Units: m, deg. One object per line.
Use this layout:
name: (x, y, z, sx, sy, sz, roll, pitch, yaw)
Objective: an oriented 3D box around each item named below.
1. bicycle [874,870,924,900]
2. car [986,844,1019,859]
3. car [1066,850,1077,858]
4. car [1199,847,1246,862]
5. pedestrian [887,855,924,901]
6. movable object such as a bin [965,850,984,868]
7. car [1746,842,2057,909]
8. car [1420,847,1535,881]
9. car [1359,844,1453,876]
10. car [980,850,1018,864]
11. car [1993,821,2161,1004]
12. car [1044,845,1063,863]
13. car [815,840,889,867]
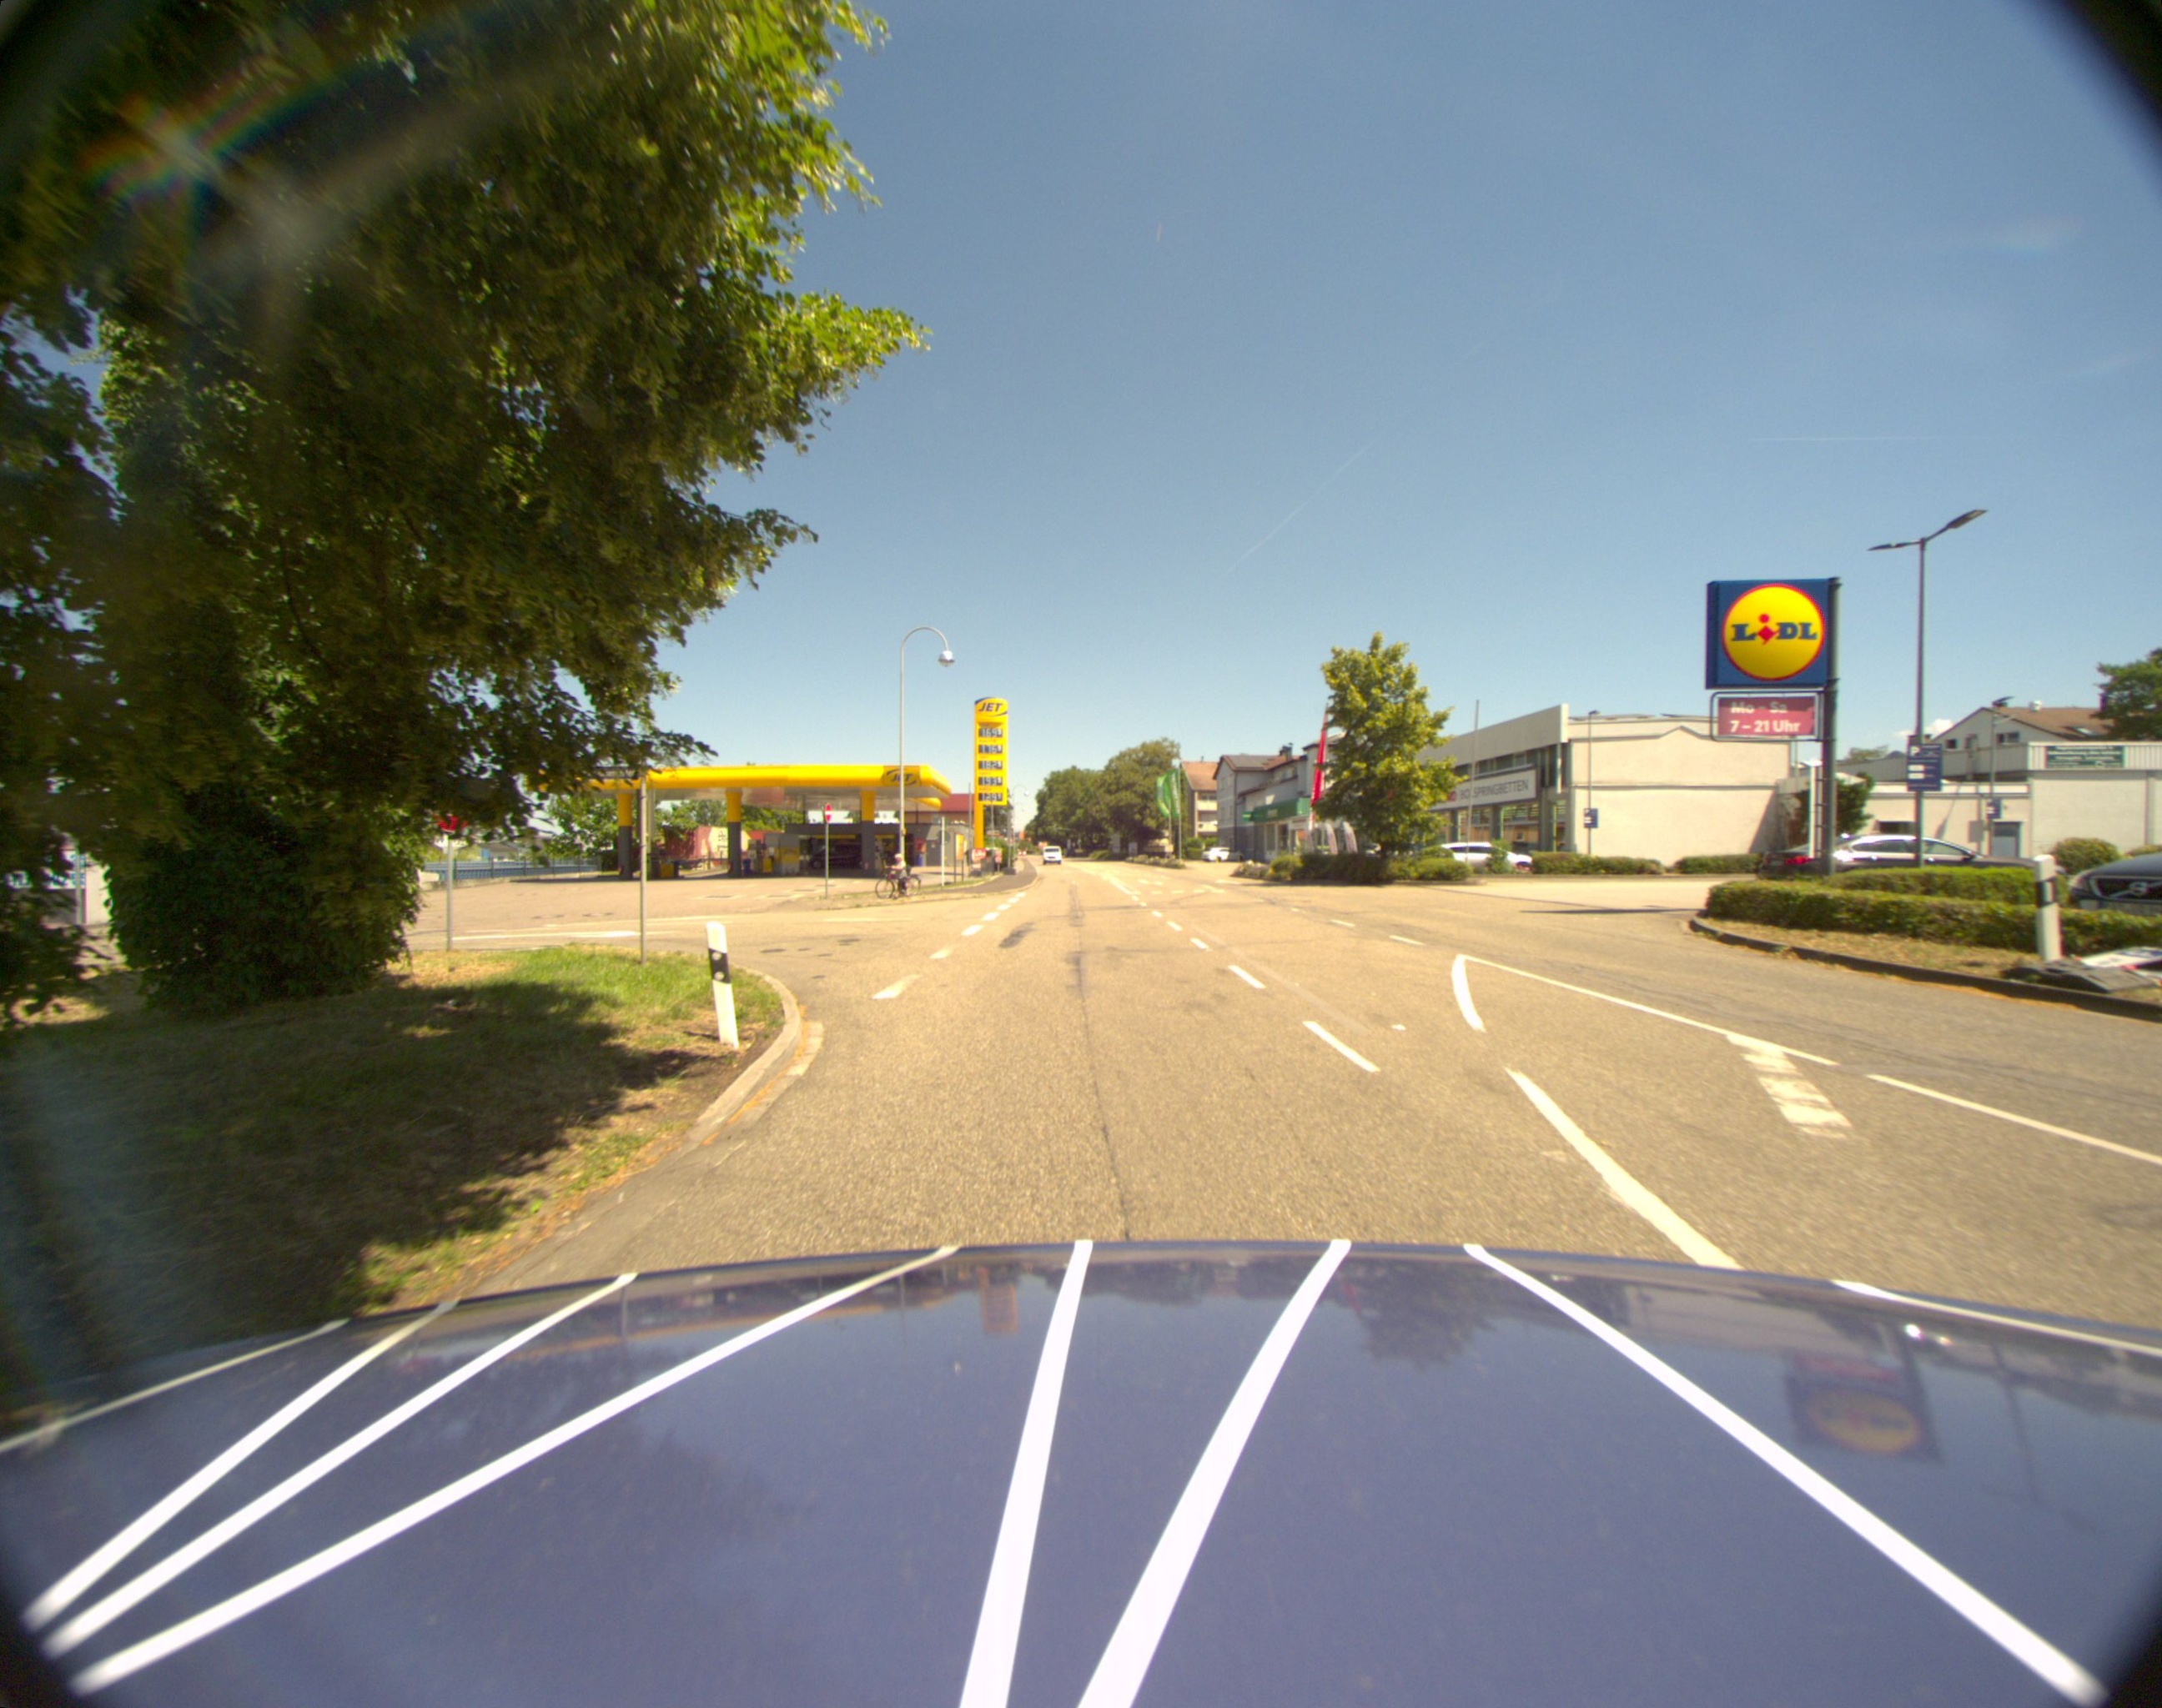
bicycle: (-5.898, 1.005, 24.718, 0.378, 0.907, 1.601, 0, 1, 44)
car: (-10.328, -0.278, 99.623, 4.148, 1.927, 1.806, 0, 0, -10)
car: (-1.731, 0.005, 142.774, 1.767, 1.518, 4.135, 0, 0, -4)
car: (14.136, 0.050, 75.779, 4.361, 1.430, 1.935, -1, 1, -26)
pedestrian: (-5.619, 0.760, 24.350, 0.769, 1.413, 0.869, 0, 1, 44)
movable object such as a bin: (-8.823, 0.381, 62.856, 1.438, 1.429, 1.467, 1, 0, -3)
car: (18.675, 0.472, 17.551, 4.682, 1.392, 1.939, -1, 1, 9)
car: (17.668, 0.441, 34.054, 4.190, 1.438, 1.981, -1, 0, 12)
car: (17.807, 0.335, 41.876, 4.536, 1.654, 2.002, -1, 0, 15)
car: (-9.285, 0.353, 86.191, 4.237, 1.525, 1.957, 1, 0, -5)
car: (12.790, 0.515, 7.529, 4.718, 1.752, 2.098, -1, 1, 4)
car: (-3.021, 0.029, 83.016, 1.797, 1.904, 3.638, -1, 1, -6)
car: (-17.474, -0.029, 58.239, 5.064, 1.964, 1.999, -1, 1, -3)
